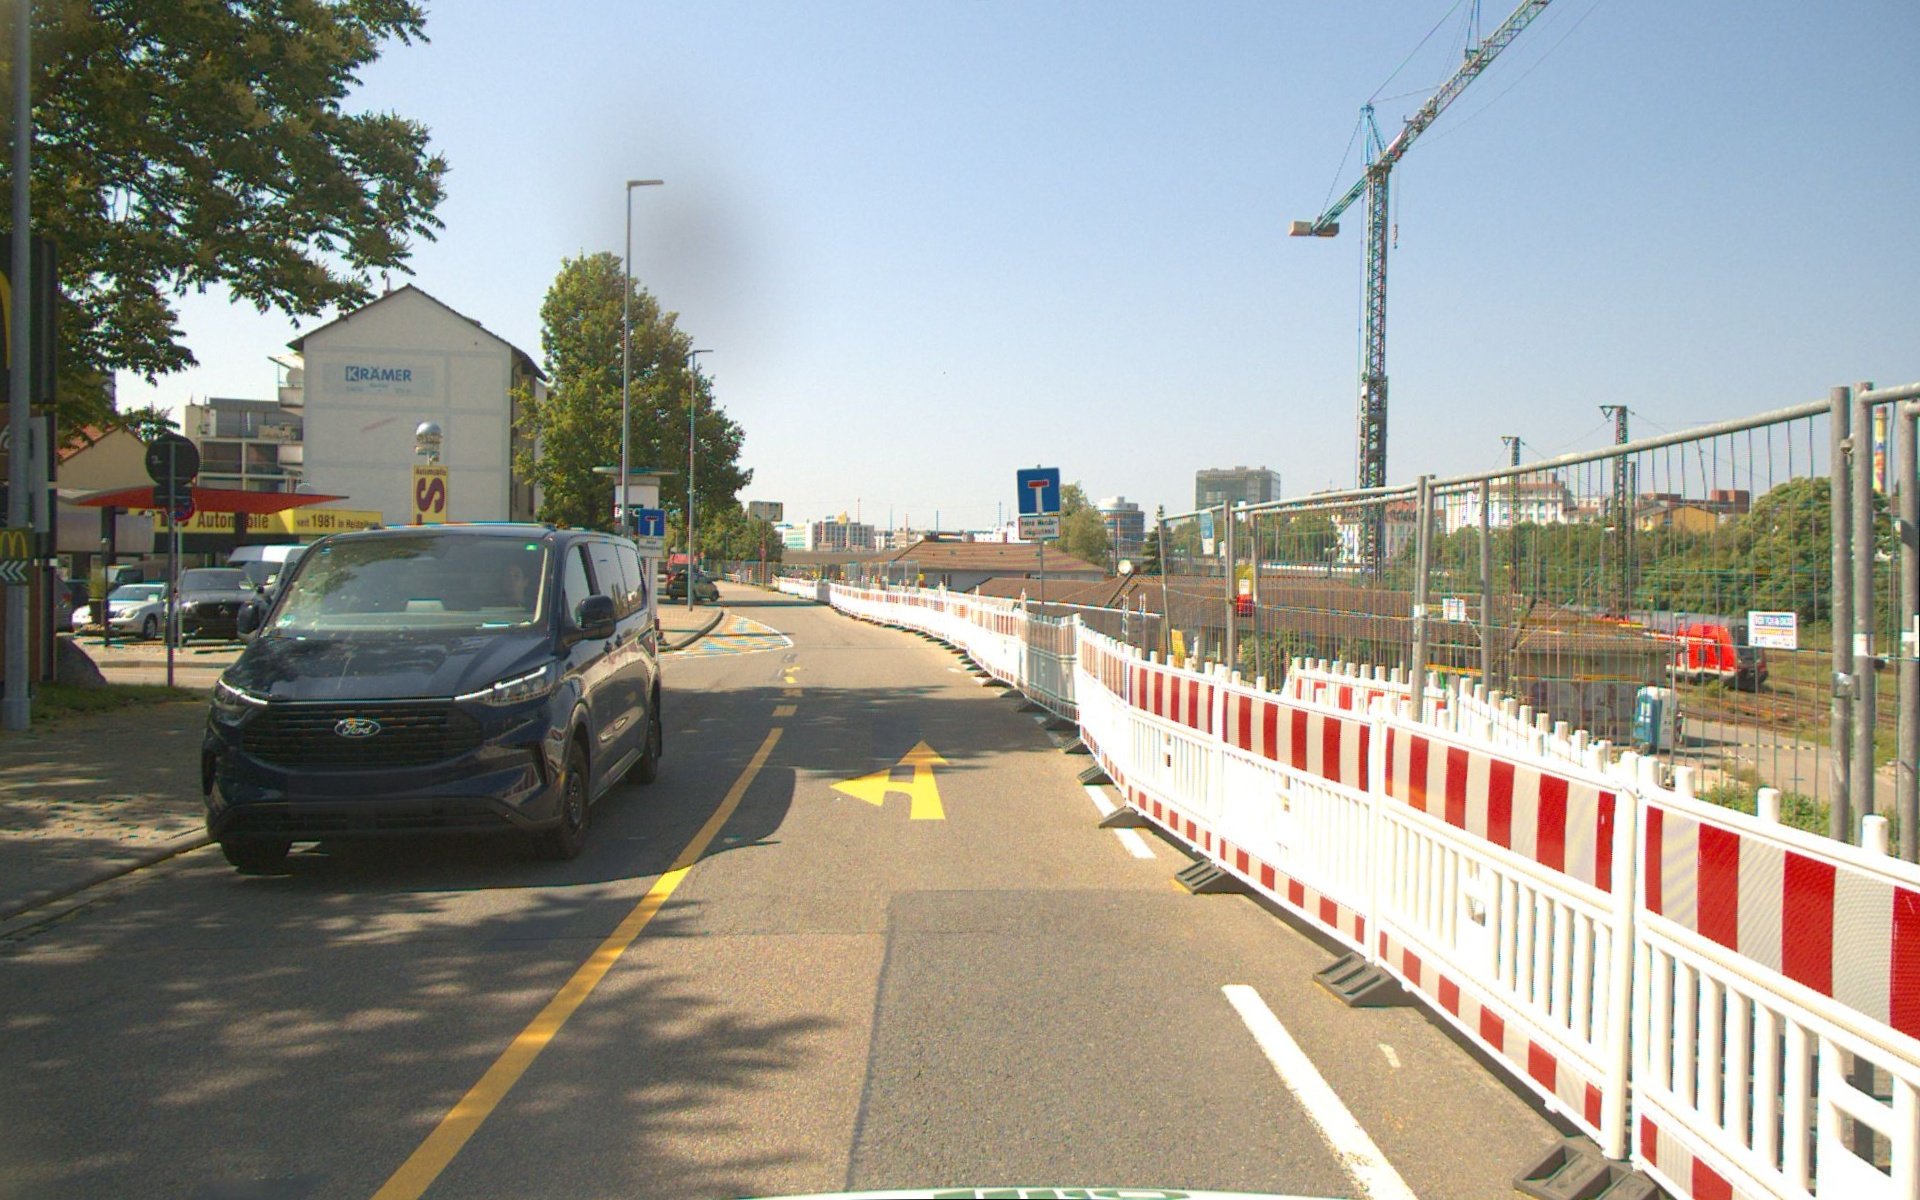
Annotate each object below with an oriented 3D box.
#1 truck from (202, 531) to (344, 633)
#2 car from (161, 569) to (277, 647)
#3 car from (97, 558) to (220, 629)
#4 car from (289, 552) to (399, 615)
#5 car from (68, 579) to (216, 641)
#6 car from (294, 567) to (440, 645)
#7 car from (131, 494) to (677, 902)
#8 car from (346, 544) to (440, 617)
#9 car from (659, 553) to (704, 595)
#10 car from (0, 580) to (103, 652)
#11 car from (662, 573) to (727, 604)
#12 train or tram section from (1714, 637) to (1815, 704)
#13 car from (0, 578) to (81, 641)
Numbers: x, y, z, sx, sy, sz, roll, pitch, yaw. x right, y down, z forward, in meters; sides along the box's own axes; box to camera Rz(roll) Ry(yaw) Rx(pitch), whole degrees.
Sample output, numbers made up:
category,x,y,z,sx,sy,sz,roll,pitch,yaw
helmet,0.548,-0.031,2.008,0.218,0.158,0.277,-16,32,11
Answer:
category,x,y,z,sx,sy,sz,roll,pitch,yaw
truck,-21.569,-0.553,52.231,2.224,2.954,5.939,2,0,-3
car,-16.728,0.172,37.213,2.024,1.622,4.381,1,0,-29
car,-24.753,-0.191,51.284,1.955,2.049,4.490,1,0,-6
car,-18.531,-0.495,49.974,1.841,1.768,4.717,2,0,-5
car,-21.338,0.260,43.314,1.751,1.513,4.001,1,0,2
car,-14.069,0.126,39.148,1.982,1.756,3.942,1,0,-40
car,-3.257,0.444,11.065,2.134,2.002,5.440,-1,1,-4
car,-19.116,-0.659,55.983,2.095,2.324,4.703,1,0,-7
car,-17.949,-1.669,106.792,2.489,2.564,5.111,1,0,-6
car,-21.181,0.338,37.517,1.754,1.536,3.994,1,0,-7
car,-14.919,-0.642,93.099,1.696,1.666,3.260,1,0,42
train or tram section,50.469,4.333,104.020,2.951,3.766,8.979,3,0,8
car,-25.376,0.225,42.775,4.301,1.613,1.968,1,0,-44
